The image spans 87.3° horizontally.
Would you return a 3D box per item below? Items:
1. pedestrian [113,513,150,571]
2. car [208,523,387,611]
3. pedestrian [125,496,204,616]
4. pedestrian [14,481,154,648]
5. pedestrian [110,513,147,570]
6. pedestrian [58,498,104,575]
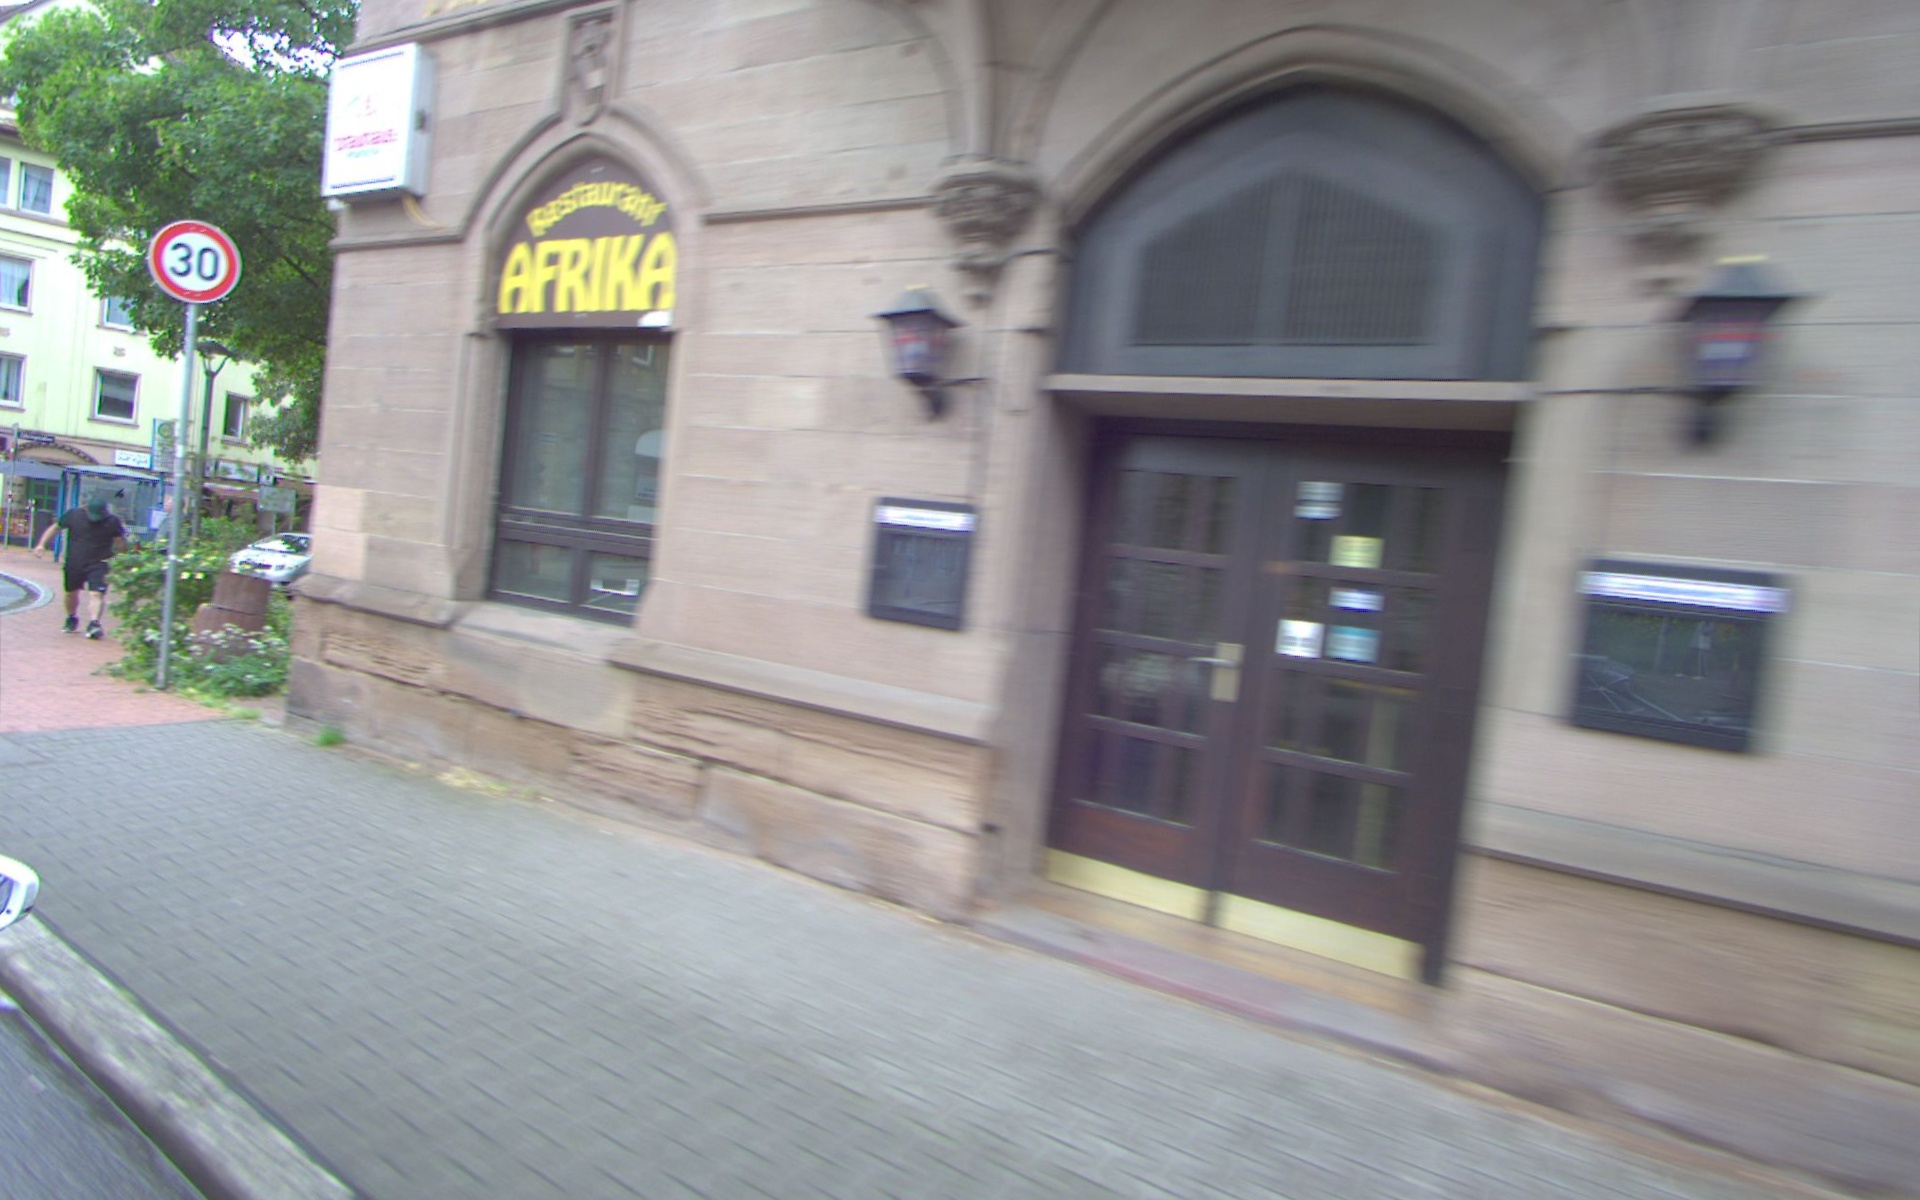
[{"bbox_3d":[-19.867,-1.394,24.126,0.567,1.295,0.528,7,-1,-41],"label":"pedestrian"},{"bbox_3d":[-15.373,-0.694,23.604,1.739,1.519,3.676,8,-3,-3],"label":"car"},{"bbox_3d":[-12.281,-0.665,15.556,0.565,1.754,0.729,7,-1,-18],"label":"pedestrian"},{"bbox_3d":[-9.763,-0.385,11.261,0.821,1.698,0.888,7,-1,-26],"label":"pedestrian"},{"bbox_3d":[-20.317,-1.436,24.573,0.567,1.295,0.612,7,-1,-40],"label":"pedestrian"},{"bbox_3d":[-21.731,-1.559,24.886,0.553,1.796,0.542,7,-1,-23],"label":"pedestrian"}]
